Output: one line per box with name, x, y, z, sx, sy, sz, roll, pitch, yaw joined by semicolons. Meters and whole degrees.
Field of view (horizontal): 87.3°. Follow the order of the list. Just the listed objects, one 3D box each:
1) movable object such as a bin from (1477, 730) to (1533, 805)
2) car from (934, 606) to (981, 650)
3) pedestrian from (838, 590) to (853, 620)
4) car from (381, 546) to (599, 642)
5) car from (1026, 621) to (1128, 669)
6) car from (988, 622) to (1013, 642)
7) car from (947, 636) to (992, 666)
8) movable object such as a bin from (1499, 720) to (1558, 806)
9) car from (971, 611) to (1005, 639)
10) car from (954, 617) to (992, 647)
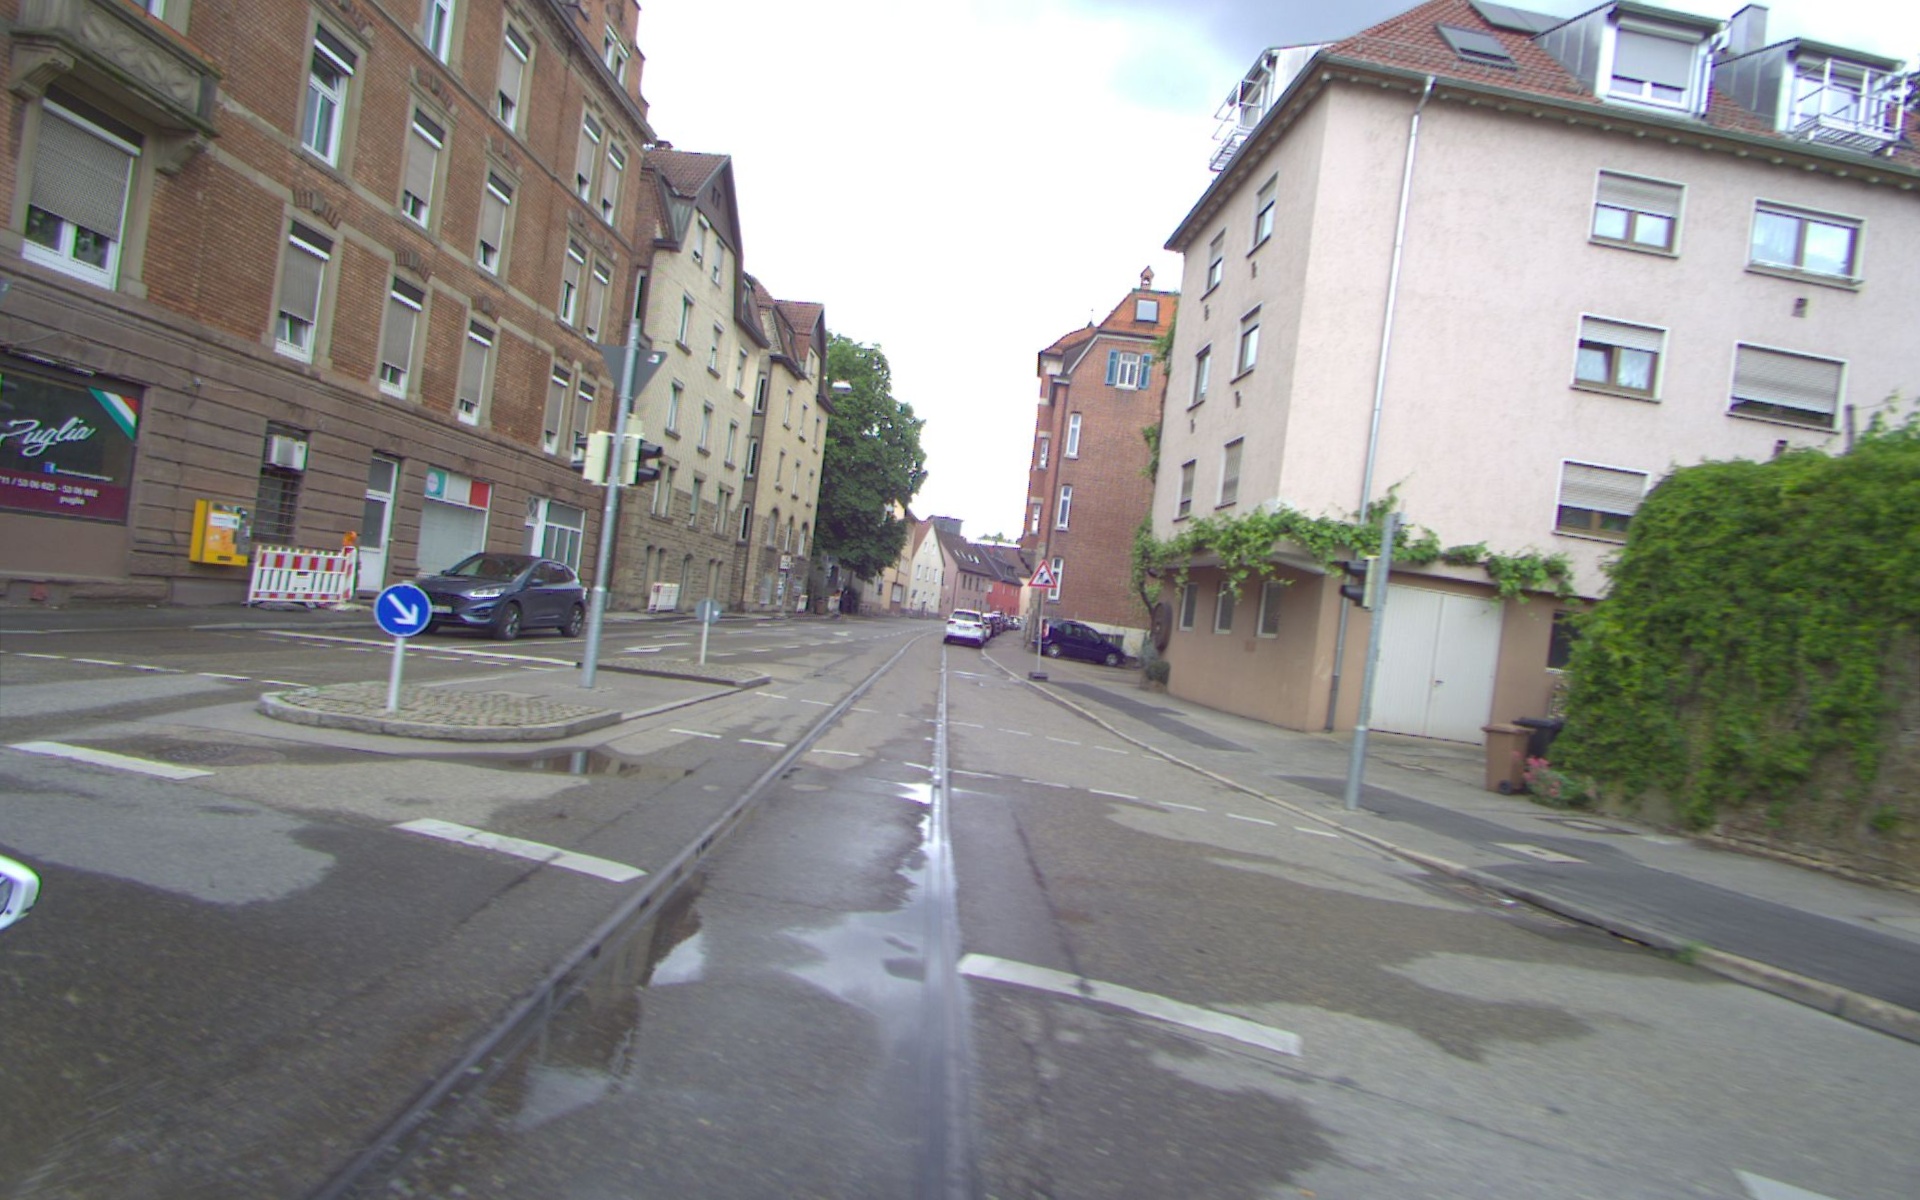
movable object such as a bin;7.393;2.261;13.651;0.340;0.922;0.493;8;-3;-20
car;-0.126;1.283;46.589;1.919;1.739;4.001;6;-1;-1
pedestrian;-8.123;0.388;71.353;0.752;2.038;0.754;6;0;2
car;-9.170;-0.070;20.101;1.962;1.533;4.287;5;-1;5
car;4.950;1.898;42.929;3.855;1.570;1.869;6;-1;-8
car;4.256;3.360;105.811;1.962;1.804;4.004;6;-1;9
car;0.517;2.593;51.705;1.962;1.304;4.003;4;-1;5
movable object such as a bin;7.797;2.230;13.797;0.402;1.094;0.471;7;-2;-21
car;2.025;1.782;71.762;1.932;1.684;3.822;9;0;5
car;0.789;1.851;57.636;1.781;1.480;4.003;5;-2;4
